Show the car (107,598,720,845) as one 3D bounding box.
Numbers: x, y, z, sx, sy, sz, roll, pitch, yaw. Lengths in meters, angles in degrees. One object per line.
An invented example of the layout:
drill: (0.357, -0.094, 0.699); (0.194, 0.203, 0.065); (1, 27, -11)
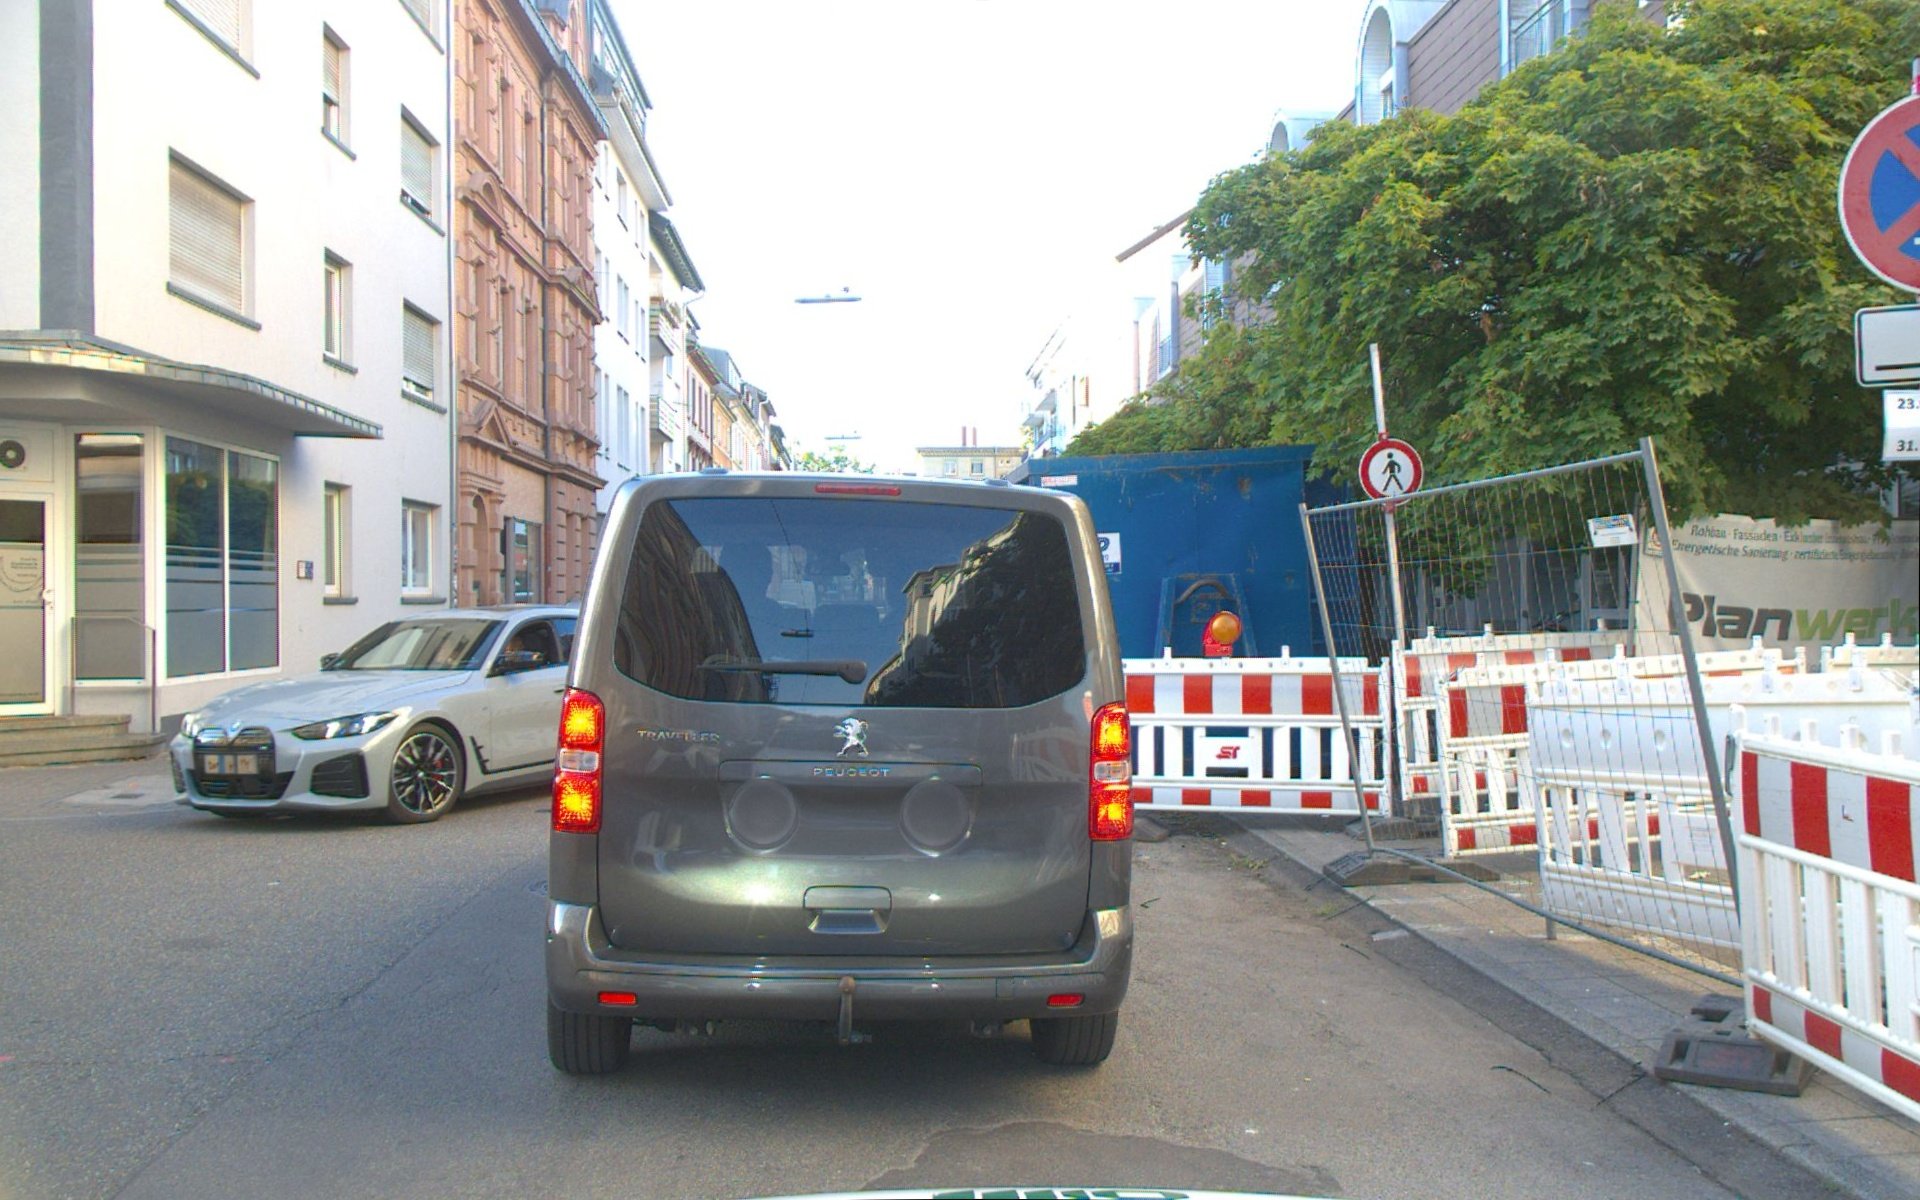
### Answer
car: (-3.824, 0.745, 12.657); (1.887, 1.477, 4.812); (0, 0, 20)

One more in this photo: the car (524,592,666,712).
car: (-5.353, 0.736, 24.626); (1.625, 1.552, 3.413); (4, -1, -7)

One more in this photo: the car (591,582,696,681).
car: (-6.018, 0.595, 31.701); (1.635, 1.695, 3.087); (4, -1, -7)

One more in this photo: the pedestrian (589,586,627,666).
pedestrian: (-7.561, 0.560, 35.578); (0.726, 1.693, 0.702); (-1, 0, -8)

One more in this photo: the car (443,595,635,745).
car: (-4.812, 0.766, 19.325); (1.625, 1.485, 3.413); (4, -1, -7)

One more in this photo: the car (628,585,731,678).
car: (-5.935, 0.662, 35.345); (1.856, 1.749, 3.748); (4, -1, -7)

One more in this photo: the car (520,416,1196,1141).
car: (-0.493, 0.494, 6.603); (1.829, 1.919, 4.229); (0, -1, -7)
